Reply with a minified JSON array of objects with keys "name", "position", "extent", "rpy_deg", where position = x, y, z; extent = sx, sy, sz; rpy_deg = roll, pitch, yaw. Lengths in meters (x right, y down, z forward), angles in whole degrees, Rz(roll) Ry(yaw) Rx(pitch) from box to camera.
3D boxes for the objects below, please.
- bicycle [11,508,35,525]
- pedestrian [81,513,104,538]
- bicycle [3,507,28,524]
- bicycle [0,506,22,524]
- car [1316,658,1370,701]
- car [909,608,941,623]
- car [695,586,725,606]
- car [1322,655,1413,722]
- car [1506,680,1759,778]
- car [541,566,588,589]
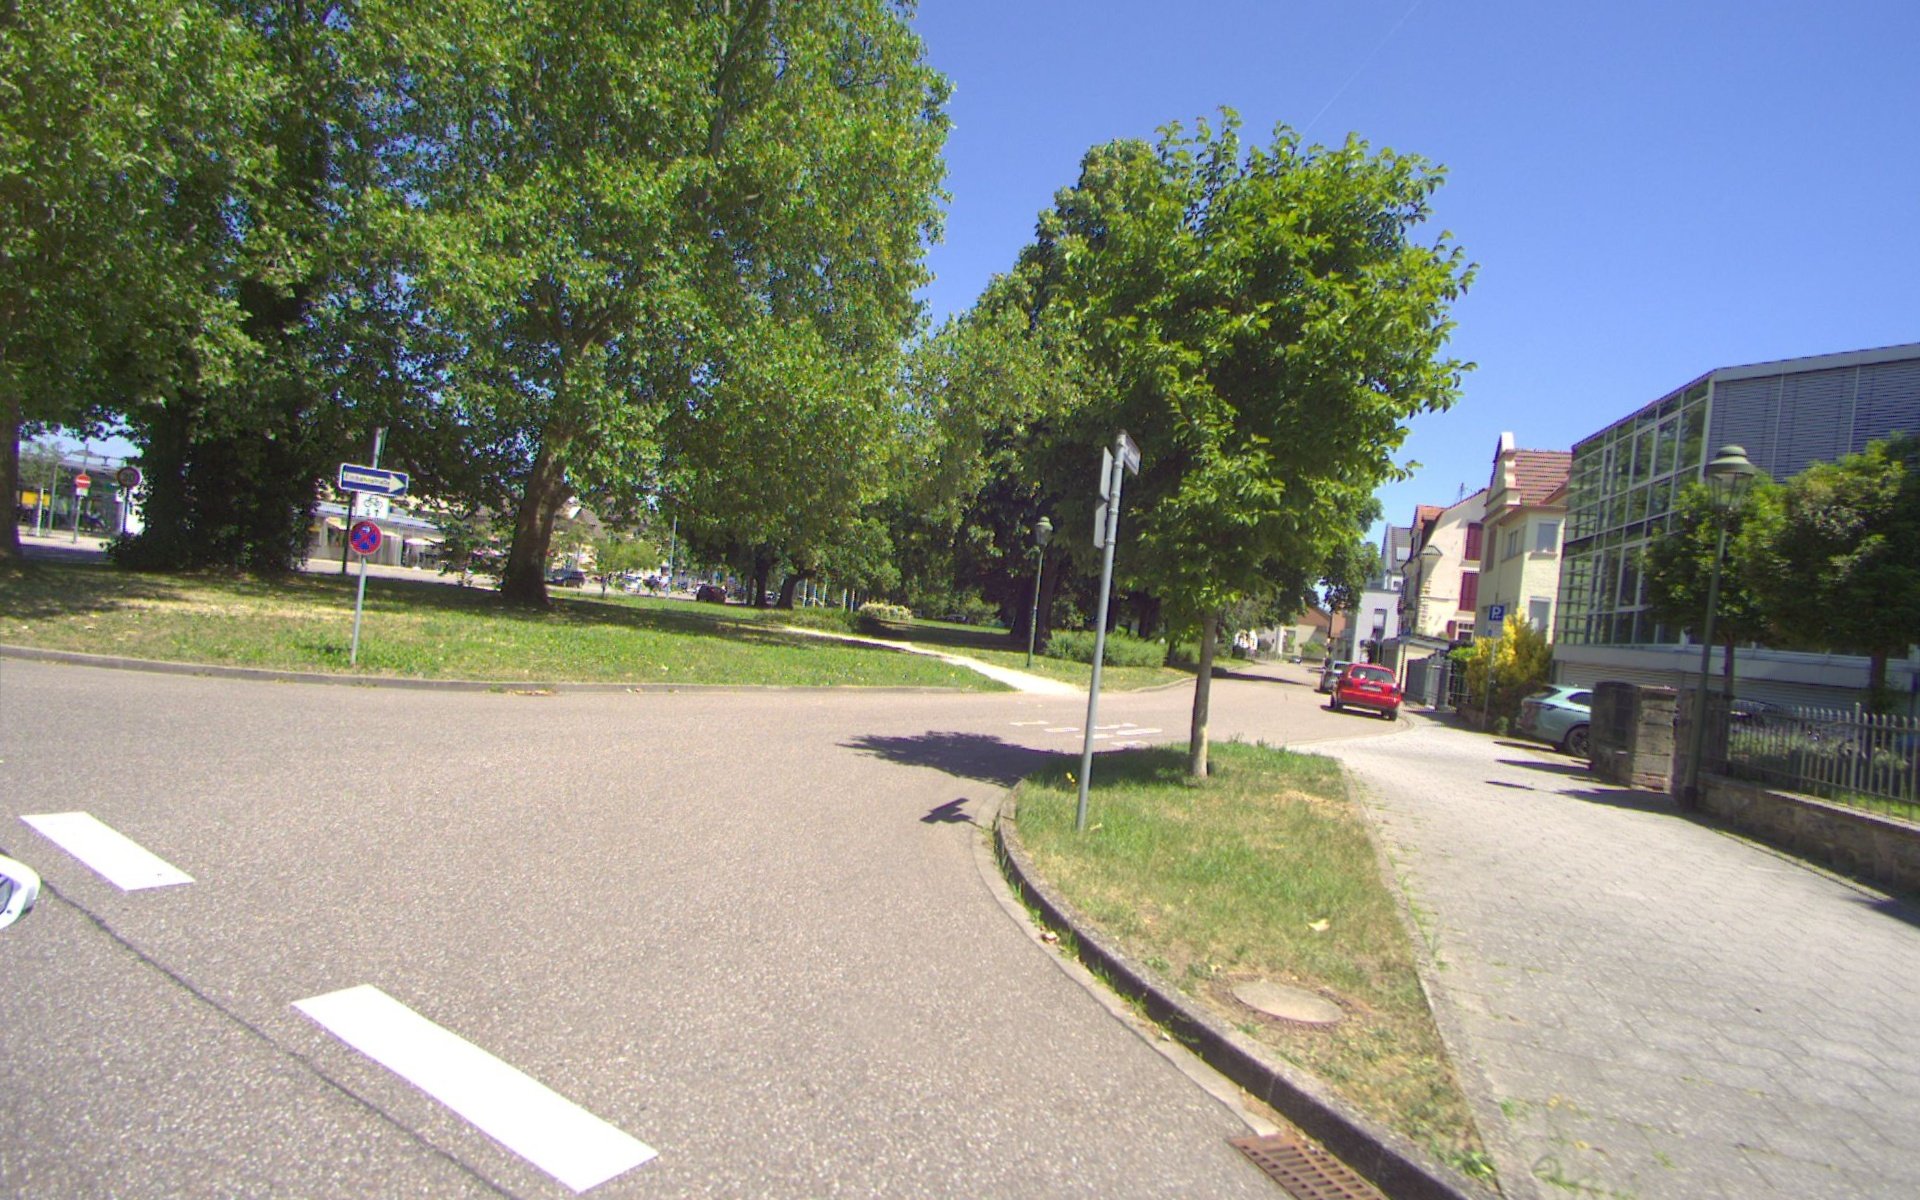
[{"name":"bicycle","position":[-68.679,-6.109,73.726],"extent":[1.359,1.106,0.387],"rpy_deg":[6,-1,8]},{"name":"pedestrian","position":[-61.333,-5.285,71.125],"extent":[0.809,1.637,0.766],"rpy_deg":[6,0,-14]},{"name":"bicycle","position":[-68.769,-6.141,73.252],"extent":[1.359,1.106,0.386],"rpy_deg":[6,-1,5]},{"name":"bicycle","position":[-68.769,-6.161,72.835],"extent":[1.359,1.106,0.387],"rpy_deg":[6,-1,6]},{"name":"car","position":[16.498,3.383,43.499],"extent":[1.721,1.525,4.002],"rpy_deg":[6,-1,16]},{"name":"car","position":[-4.665,2.047,133.478],"extent":[4.041,1.484,2.000],"rpy_deg":[6,0,1]},{"name":"car","position":[-21.436,-0.294,86.353],"extent":[1.693,1.496,3.705],"rpy_deg":[6,-1,-3]},{"name":"car","position":[11.606,2.473,28.912],"extent":[1.720,1.543,4.002],"rpy_deg":[7,0,14]},{"name":"car","position":[13.901,2.634,21.096],"extent":[3.926,1.408,2.000],"rpy_deg":[5,-1,20]},{"name":"car","position":[-33.330,-1.859,84.949],"extent":[1.691,1.496,4.788],"rpy_deg":[6,-1,4]}]
